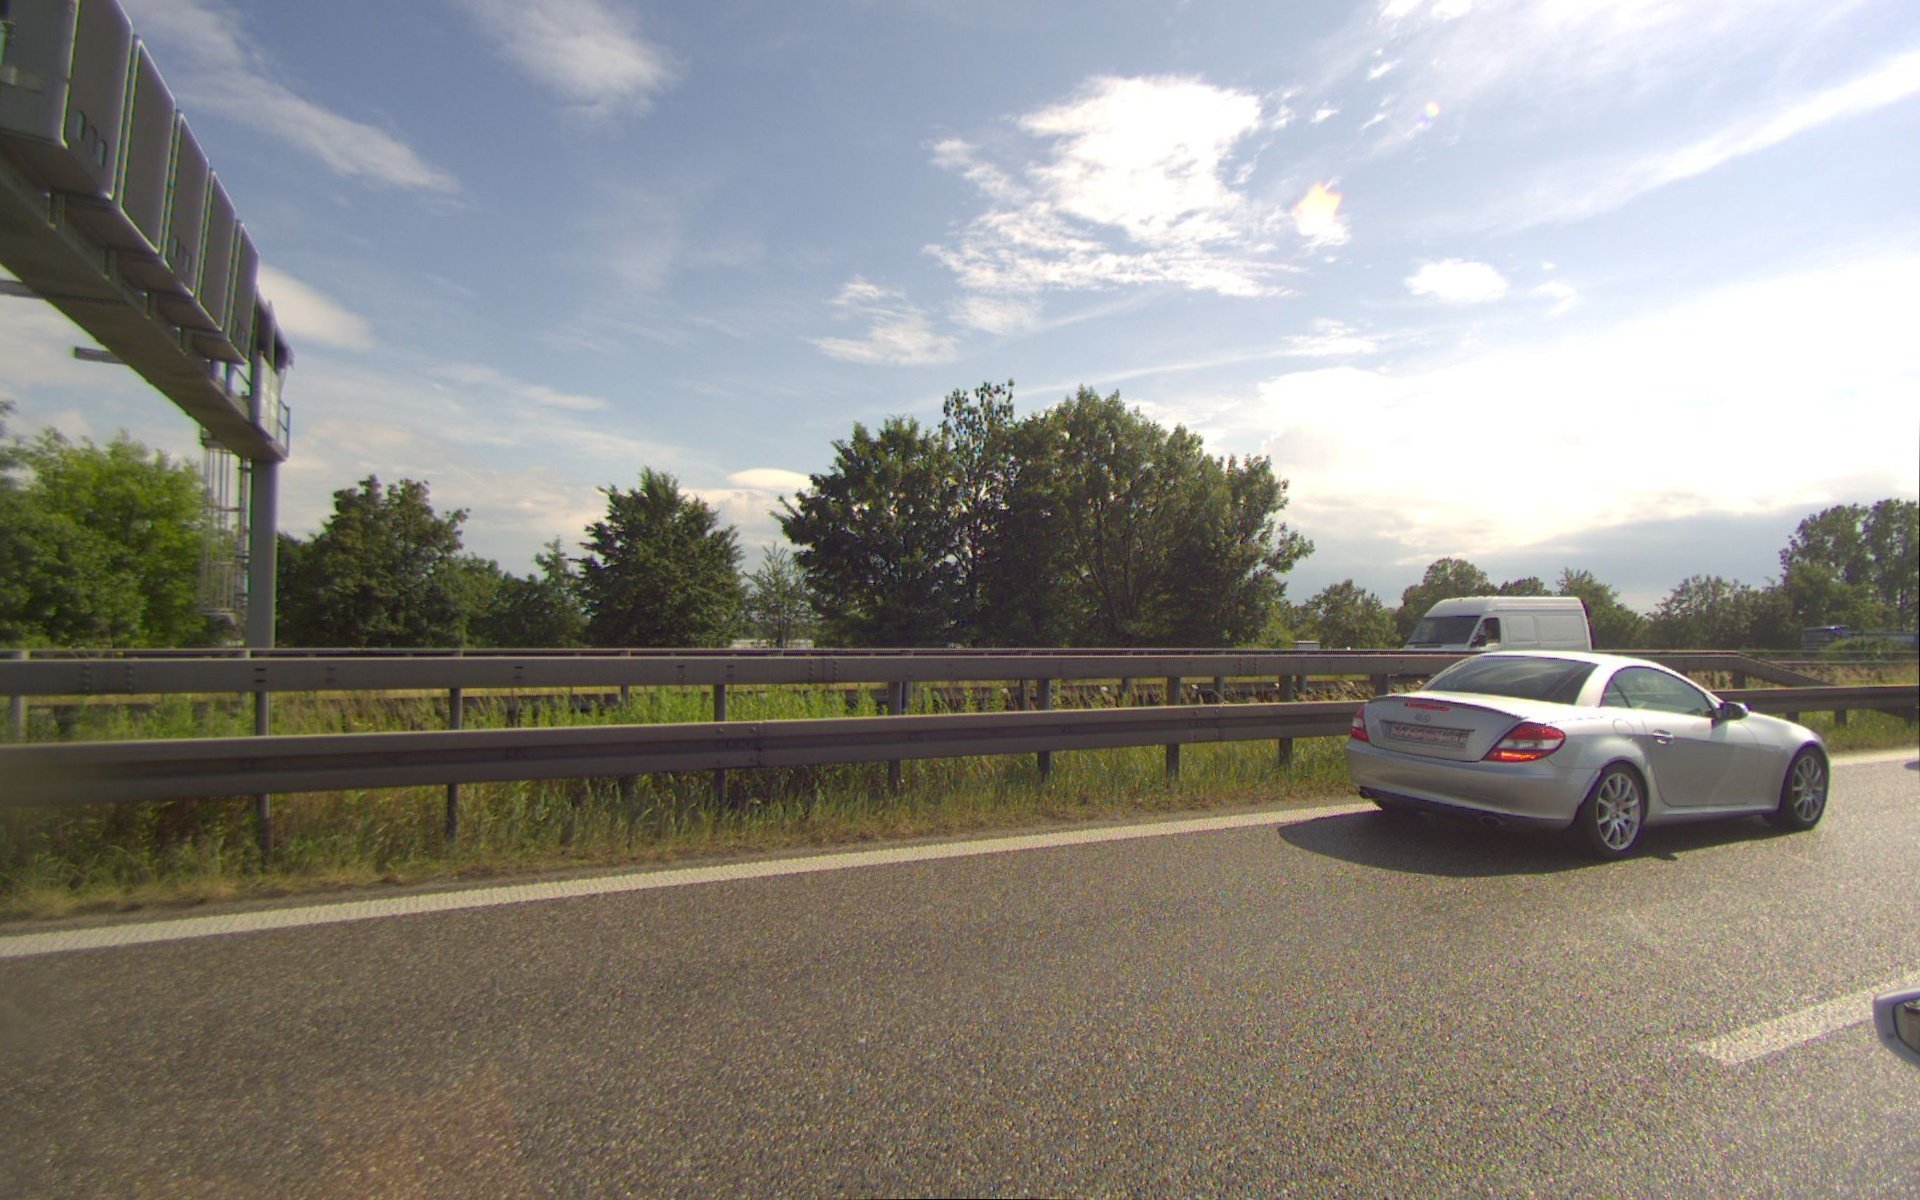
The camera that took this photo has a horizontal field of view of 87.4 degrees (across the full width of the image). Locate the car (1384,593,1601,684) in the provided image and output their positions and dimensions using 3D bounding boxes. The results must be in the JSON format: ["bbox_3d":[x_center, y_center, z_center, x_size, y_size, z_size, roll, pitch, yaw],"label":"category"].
[{"bbox_3d":[13.087,0.941,24.587,5.488,2.040,1.986,2,-2,-28],"label":"car"}]

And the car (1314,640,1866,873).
[{"bbox_3d":[4.759,0.980,7.513,4.012,1.295,1.718,1,-1,-27],"label":"car"}]
